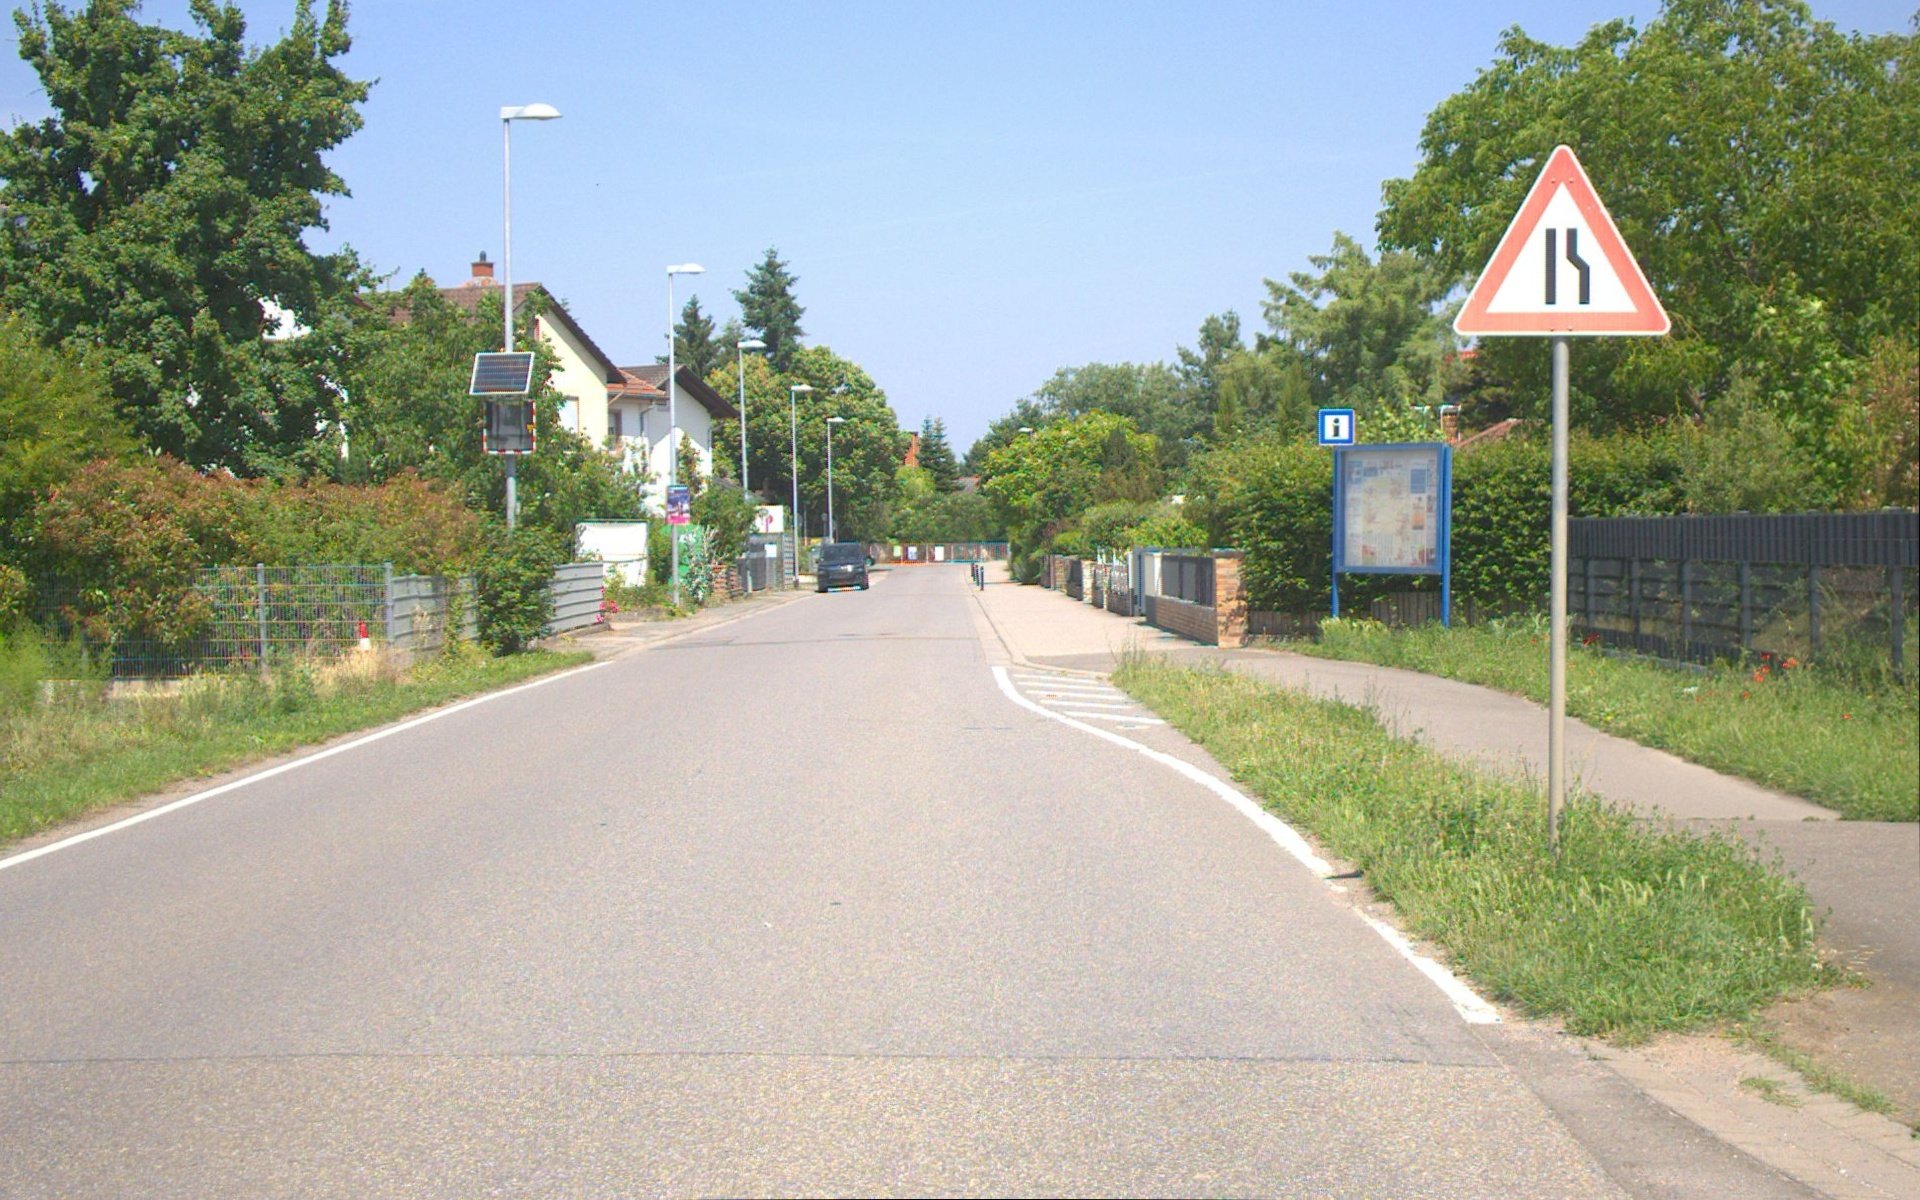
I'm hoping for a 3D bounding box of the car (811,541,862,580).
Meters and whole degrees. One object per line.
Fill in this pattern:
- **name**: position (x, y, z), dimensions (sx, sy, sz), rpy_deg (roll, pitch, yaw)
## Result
- **car**: position (-4.588, -1.471, 127.606), dimensions (1.759, 1.380, 3.453), rpy_deg (-2, 1, -1)
